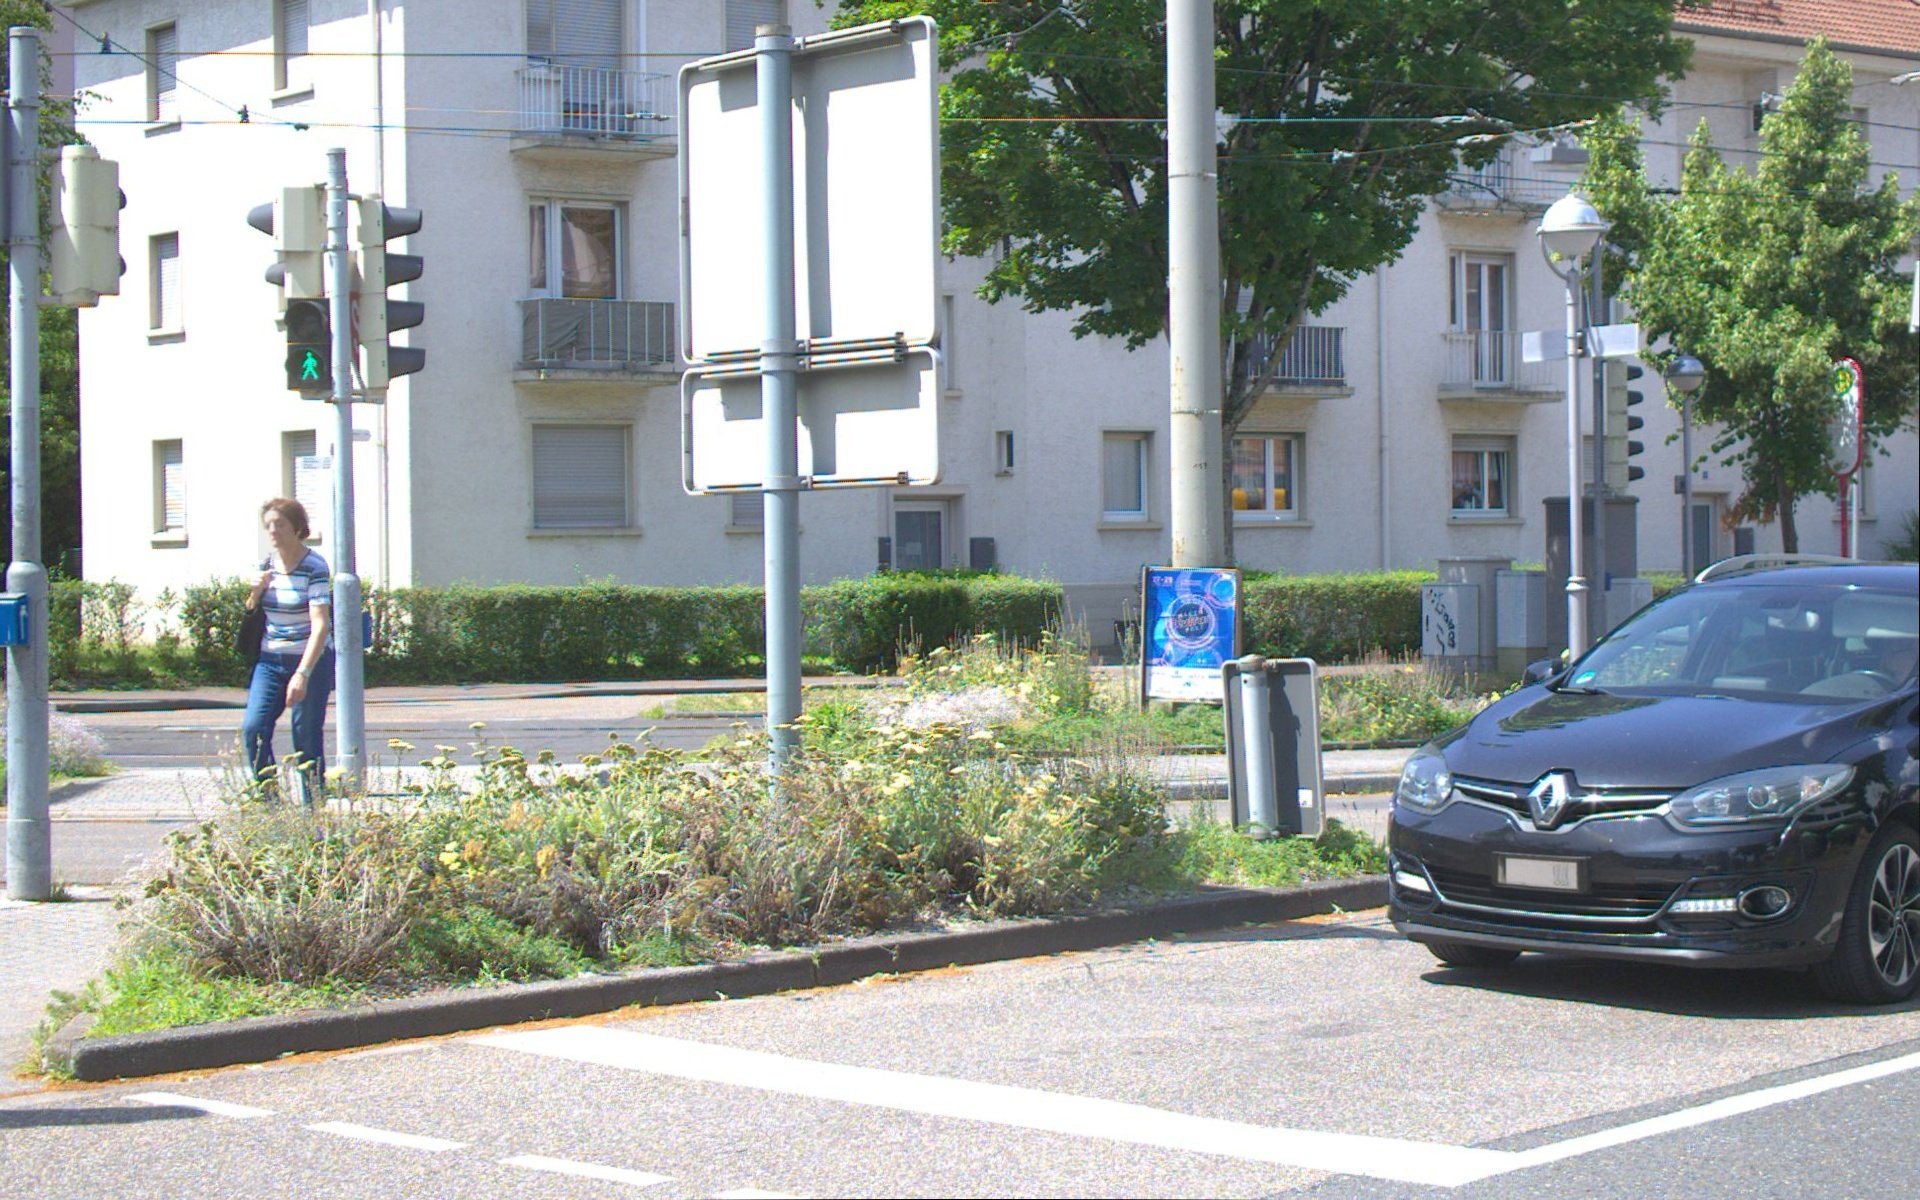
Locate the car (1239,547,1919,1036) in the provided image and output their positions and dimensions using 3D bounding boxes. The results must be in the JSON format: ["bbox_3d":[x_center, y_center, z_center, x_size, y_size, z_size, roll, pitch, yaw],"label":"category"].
[{"bbox_3d":[3.147,0.552,12.897,1.998,1.495,4.415,1,1,40],"label":"car"}]

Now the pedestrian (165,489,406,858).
[{"bbox_3d":[-3.213,0.329,16.387,0.762,1.699,0.836,1,1,40],"label":"pedestrian"}]
